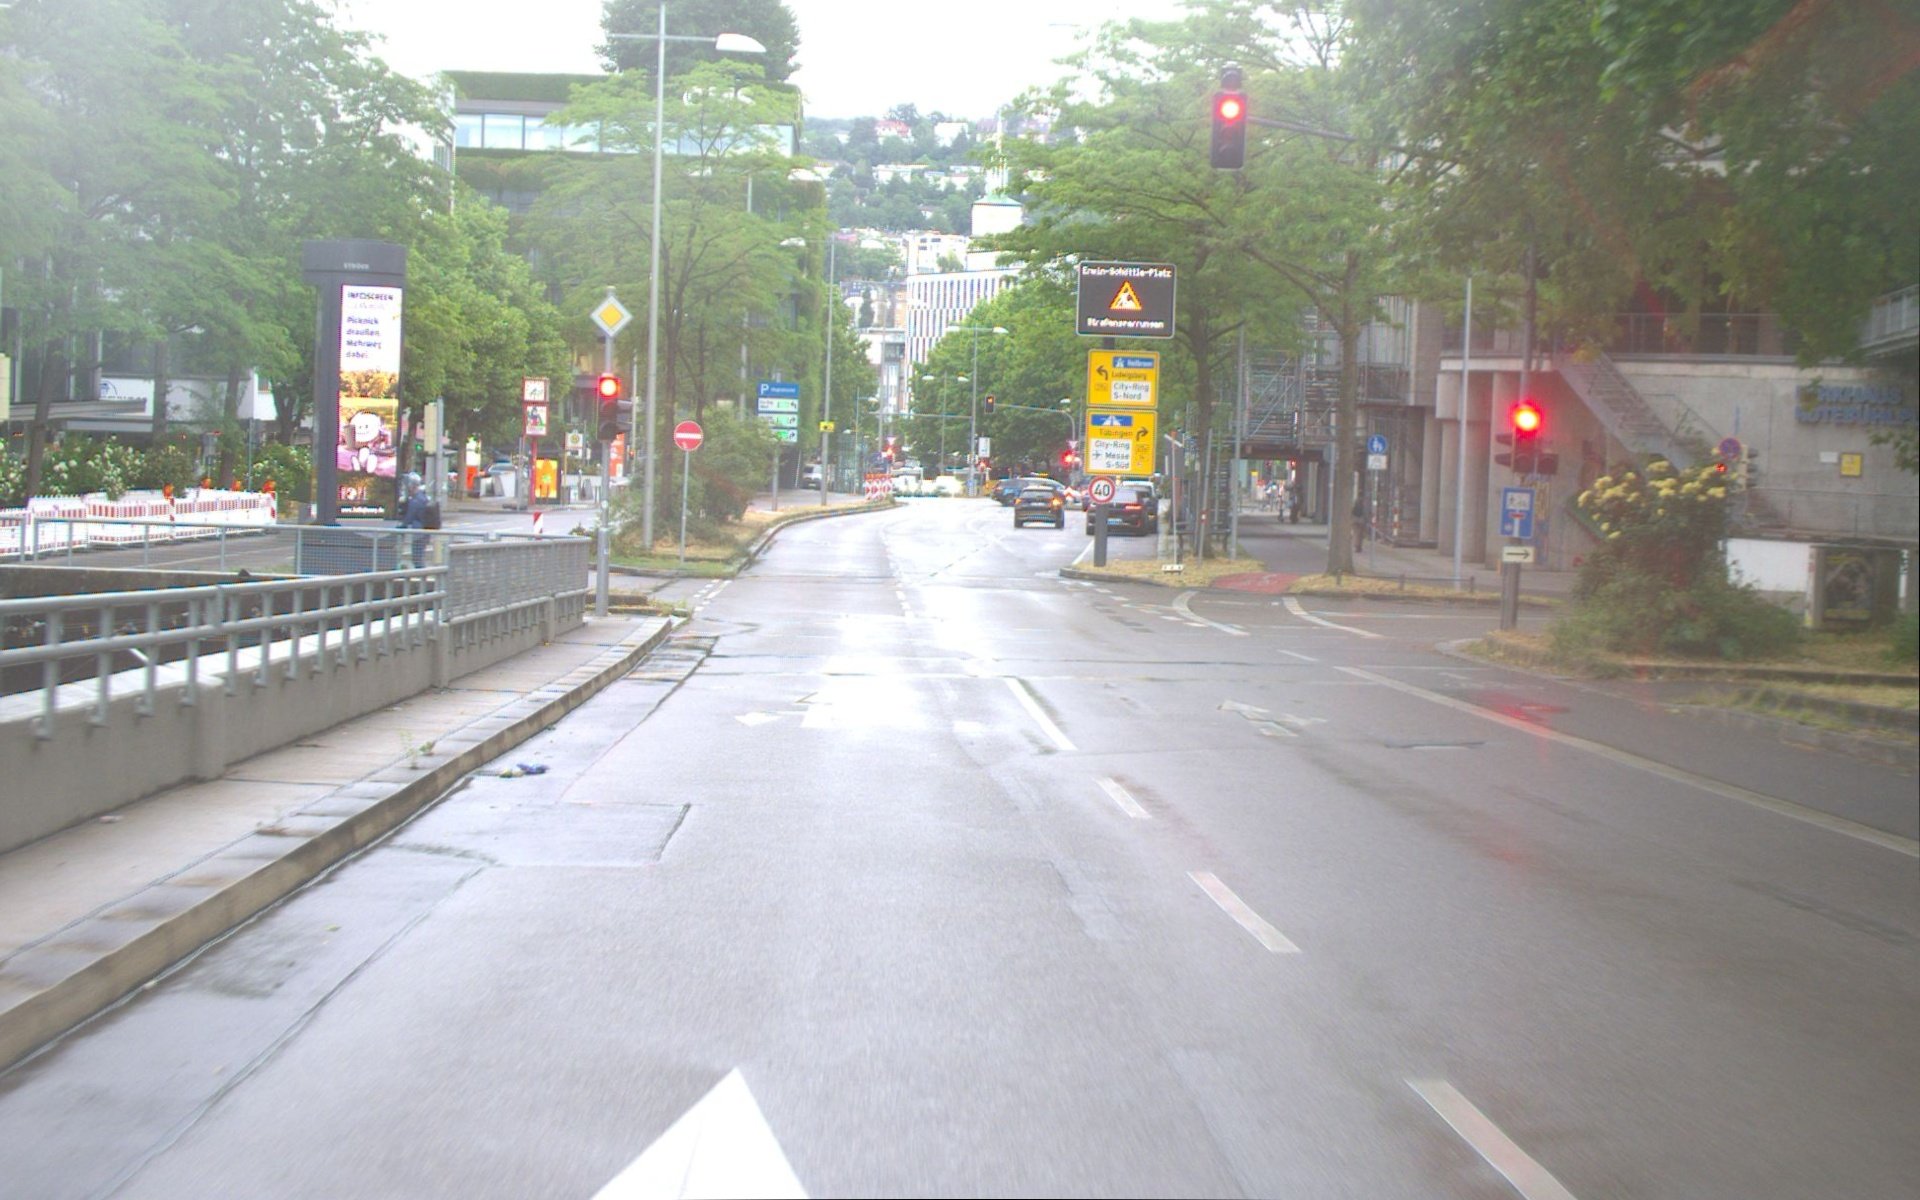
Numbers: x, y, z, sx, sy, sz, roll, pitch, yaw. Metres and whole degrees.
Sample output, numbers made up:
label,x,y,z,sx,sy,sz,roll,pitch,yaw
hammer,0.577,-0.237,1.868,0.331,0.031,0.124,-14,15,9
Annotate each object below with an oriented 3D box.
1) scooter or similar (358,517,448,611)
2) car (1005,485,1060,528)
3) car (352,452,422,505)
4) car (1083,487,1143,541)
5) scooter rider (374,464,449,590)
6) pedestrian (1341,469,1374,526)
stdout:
label,x,y,z,sx,sy,sz,roll,pitch,yaw
scooter or similar,-8.893,-0.580,54.837,0.546,1.413,1.955,2,2,-35
car,2.663,-3.462,127.059,1.746,1.514,4.107,3,2,-2
car,-19.086,-4.067,114.643,1.780,1.550,3.894,3,4,-2
car,5.125,-2.886,115.268,1.901,1.678,3.911,3,2,2
scooter rider,-8.713,-1.167,54.651,0.808,1.941,0.822,2,2,-36
pedestrian,11.010,-2.842,95.202,0.786,1.552,0.533,3,1,1
